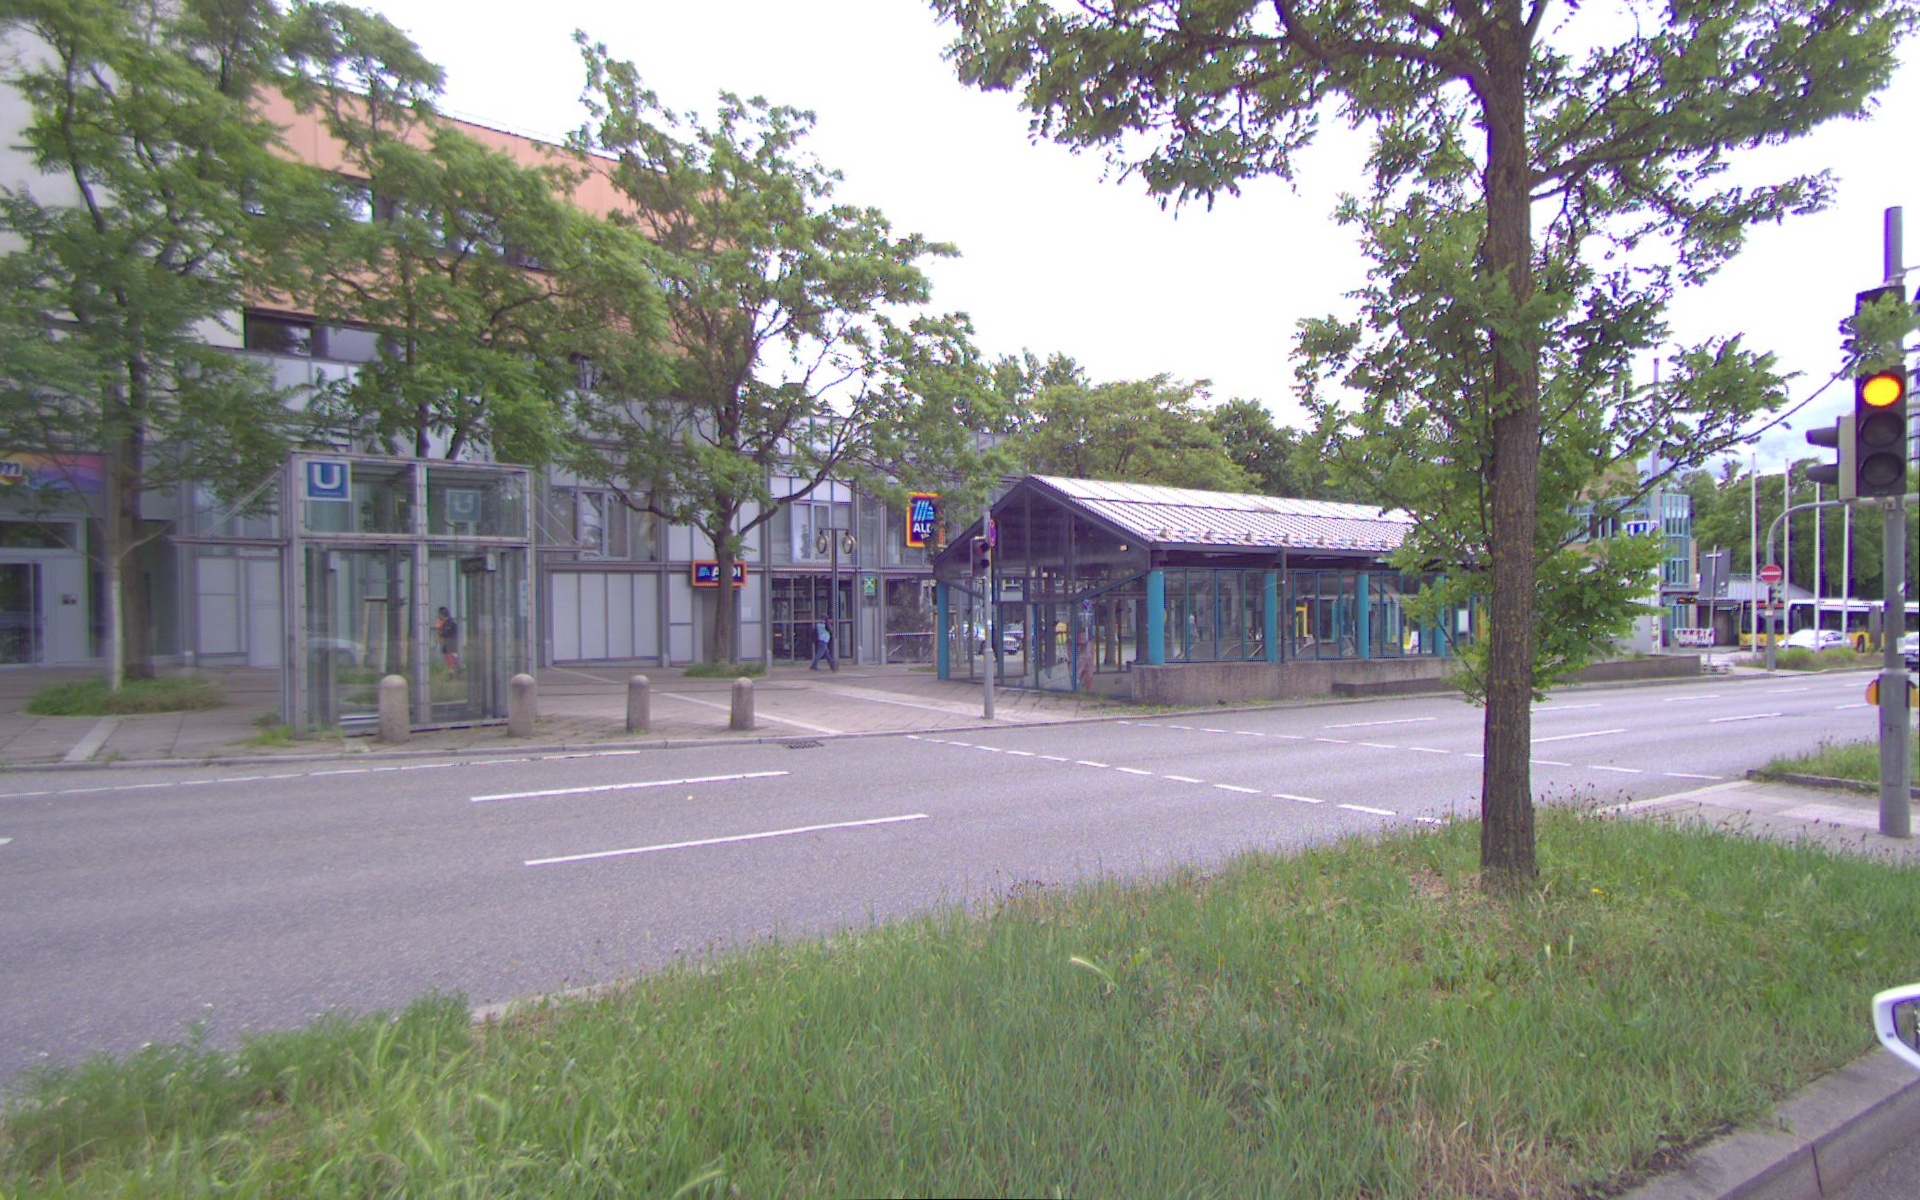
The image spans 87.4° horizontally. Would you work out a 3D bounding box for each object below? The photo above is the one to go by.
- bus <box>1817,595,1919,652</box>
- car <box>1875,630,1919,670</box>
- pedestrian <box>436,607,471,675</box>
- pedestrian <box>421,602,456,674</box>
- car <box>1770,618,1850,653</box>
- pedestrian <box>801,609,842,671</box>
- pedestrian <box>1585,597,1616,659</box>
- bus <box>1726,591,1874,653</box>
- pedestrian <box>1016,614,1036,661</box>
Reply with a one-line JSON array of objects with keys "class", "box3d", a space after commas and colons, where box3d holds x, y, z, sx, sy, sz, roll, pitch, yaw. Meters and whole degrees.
[{"class": "bus", "box3d": [59.507, 1.564, 64.549, 10.592, 3.476, 2.822, 1, -1, -26]}, {"class": "car", "box3d": [37.779, 1.956, 39.269, 3.955, 1.505, 1.983, 1, -1, -32]}, {"class": "pedestrian", "box3d": [-12.285, 0.985, 24.363, 0.674, 1.610, 0.513, 1, -1, -39]}, {"class": "pedestrian", "box3d": [-12.814, 0.924, 24.678, 0.674, 1.750, 0.560, 1, -1, -39]}, {"class": "car", "box3d": [42.823, 1.779, 50.587, 3.951, 1.684, 1.798, 1, -1, -29]}, {"class": "pedestrian", "box3d": [-4.041, 1.157, 29.252, 0.879, 1.739, 0.764, 1, 2, -39]}, {"class": "pedestrian", "box3d": [21.503, 0.939, 33.726, 0.639, 2.040, 0.677, 1, -1, -34]}, {"class": "bus", "box3d": [50.175, 1.364, 59.896, 10.592, 3.476, 2.822, 1, -1, -26]}, {"class": "pedestrian", "box3d": [2.490, 1.413, 37.967, 0.693, 1.739, 0.772, 2, 1, 1]}]
